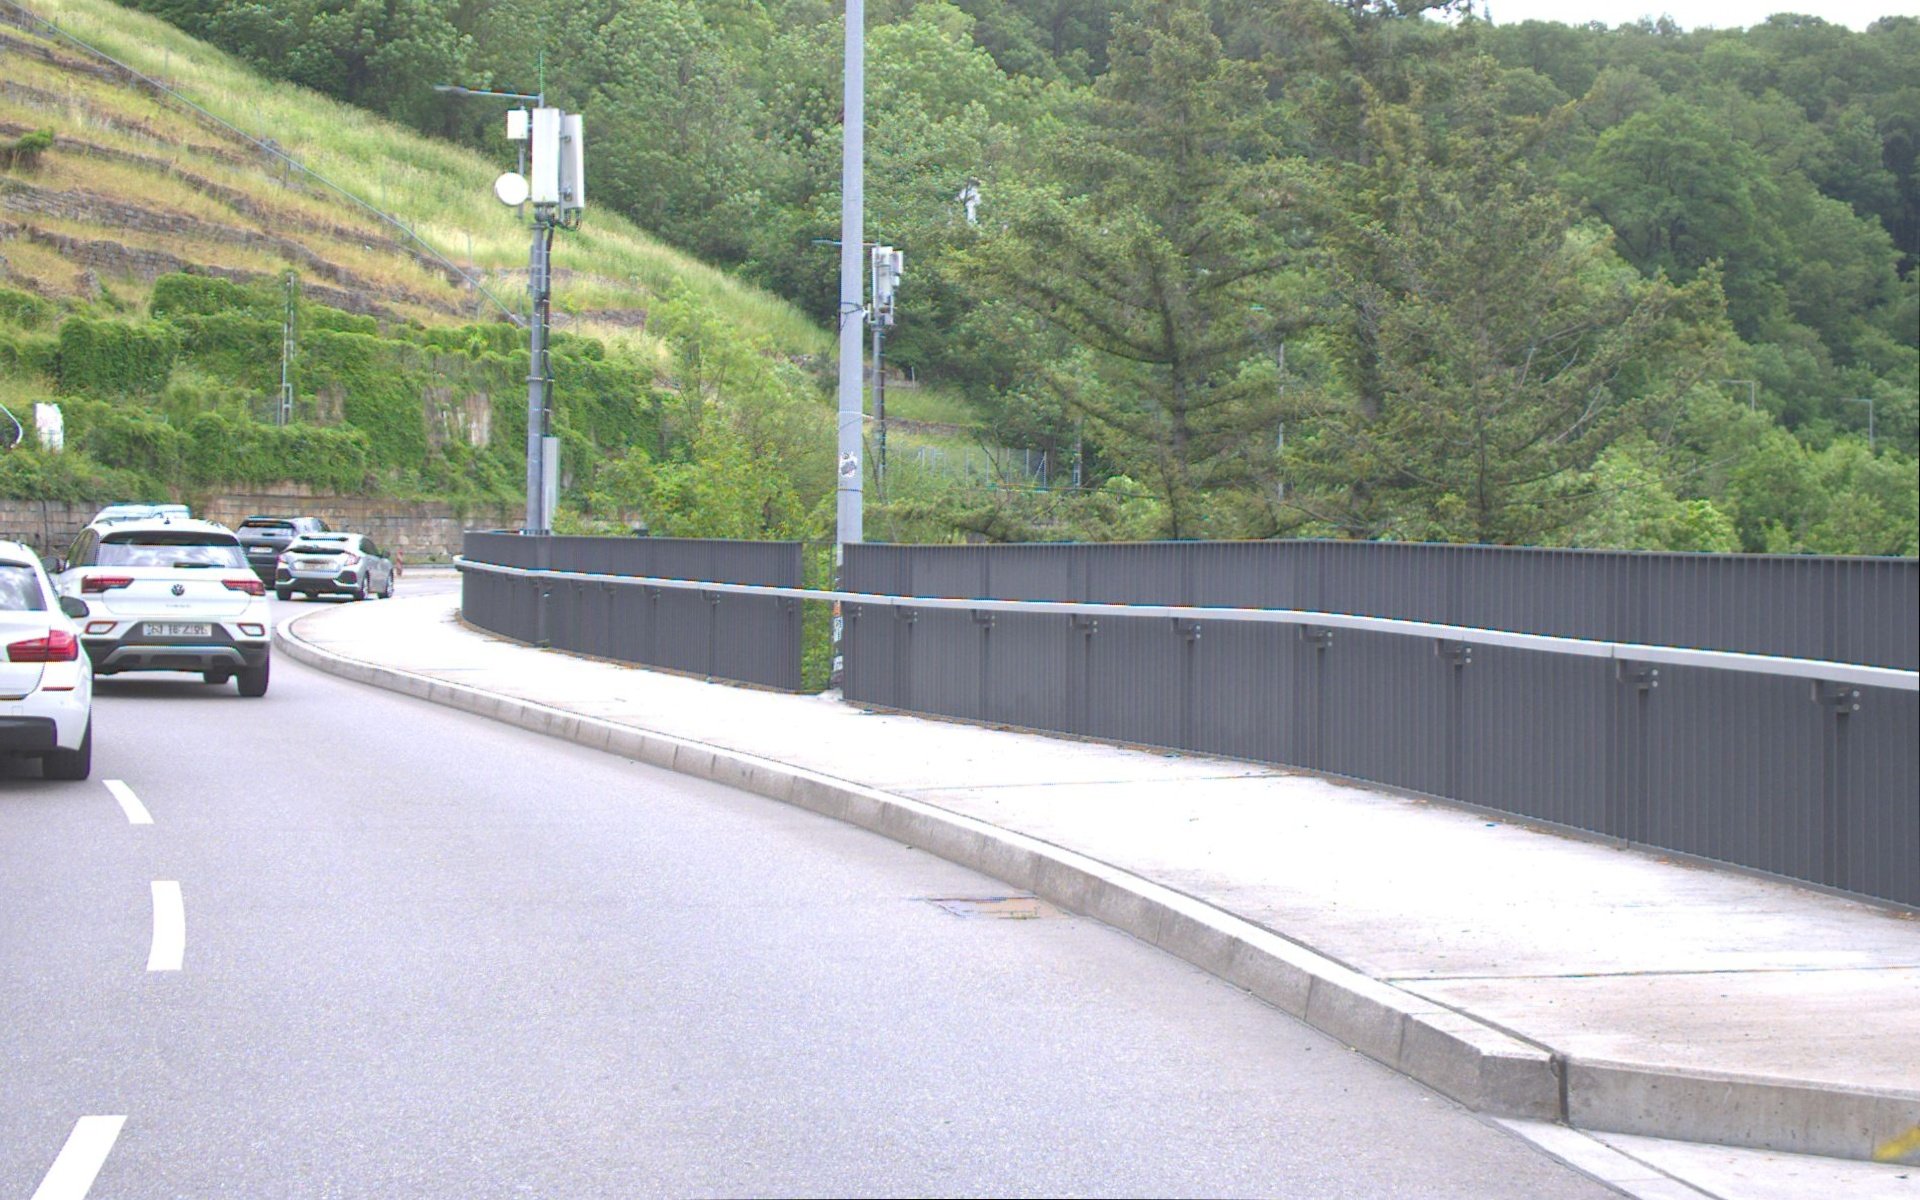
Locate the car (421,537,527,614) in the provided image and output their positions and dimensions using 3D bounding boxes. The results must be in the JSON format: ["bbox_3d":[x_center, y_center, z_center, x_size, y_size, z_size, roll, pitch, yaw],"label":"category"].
[{"bbox_3d":[-12.374,-0.606,87.805,1.870,1.756,3.999,0,-2,4],"label":"car"}]

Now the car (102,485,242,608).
[{"bbox_3d":[-12.299,-0.803,53.787,1.993,1.712,4.114,-3,0,-12],"label":"car"}]

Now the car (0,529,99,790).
[{"bbox_3d":[-6.594,0.277,21.476,1.827,1.454,4.487,2,1,-21],"label":"car"}]

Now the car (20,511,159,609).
[{"bbox_3d":[-16.856,-0.749,66.713,1.993,1.643,4.000,-3,-1,-6],"label":"car"}]

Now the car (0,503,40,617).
[{"bbox_3d":[-13.902,-0.480,47.232,1.993,1.498,4.668,-2,0,-10],"label":"car"}]

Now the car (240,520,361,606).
[{"bbox_3d":[-15.001,-0.822,78.383,1.870,1.756,3.999,0,-2,2],"label":"car"}]

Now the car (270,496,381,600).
[{"bbox_3d":[-13.054,-1.043,70.903,1.993,2.007,4.001,-1,0,-7],"label":"car"}]

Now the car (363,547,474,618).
[{"bbox_3d":[-14.897,-0.470,94.728,1.870,1.756,3.998,0,-2,9],"label":"car"}]

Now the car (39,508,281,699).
[{"bbox_3d":[-7.458,0.009,31.798,1.827,1.600,4.001,2,0,-17],"label":"car"}]
